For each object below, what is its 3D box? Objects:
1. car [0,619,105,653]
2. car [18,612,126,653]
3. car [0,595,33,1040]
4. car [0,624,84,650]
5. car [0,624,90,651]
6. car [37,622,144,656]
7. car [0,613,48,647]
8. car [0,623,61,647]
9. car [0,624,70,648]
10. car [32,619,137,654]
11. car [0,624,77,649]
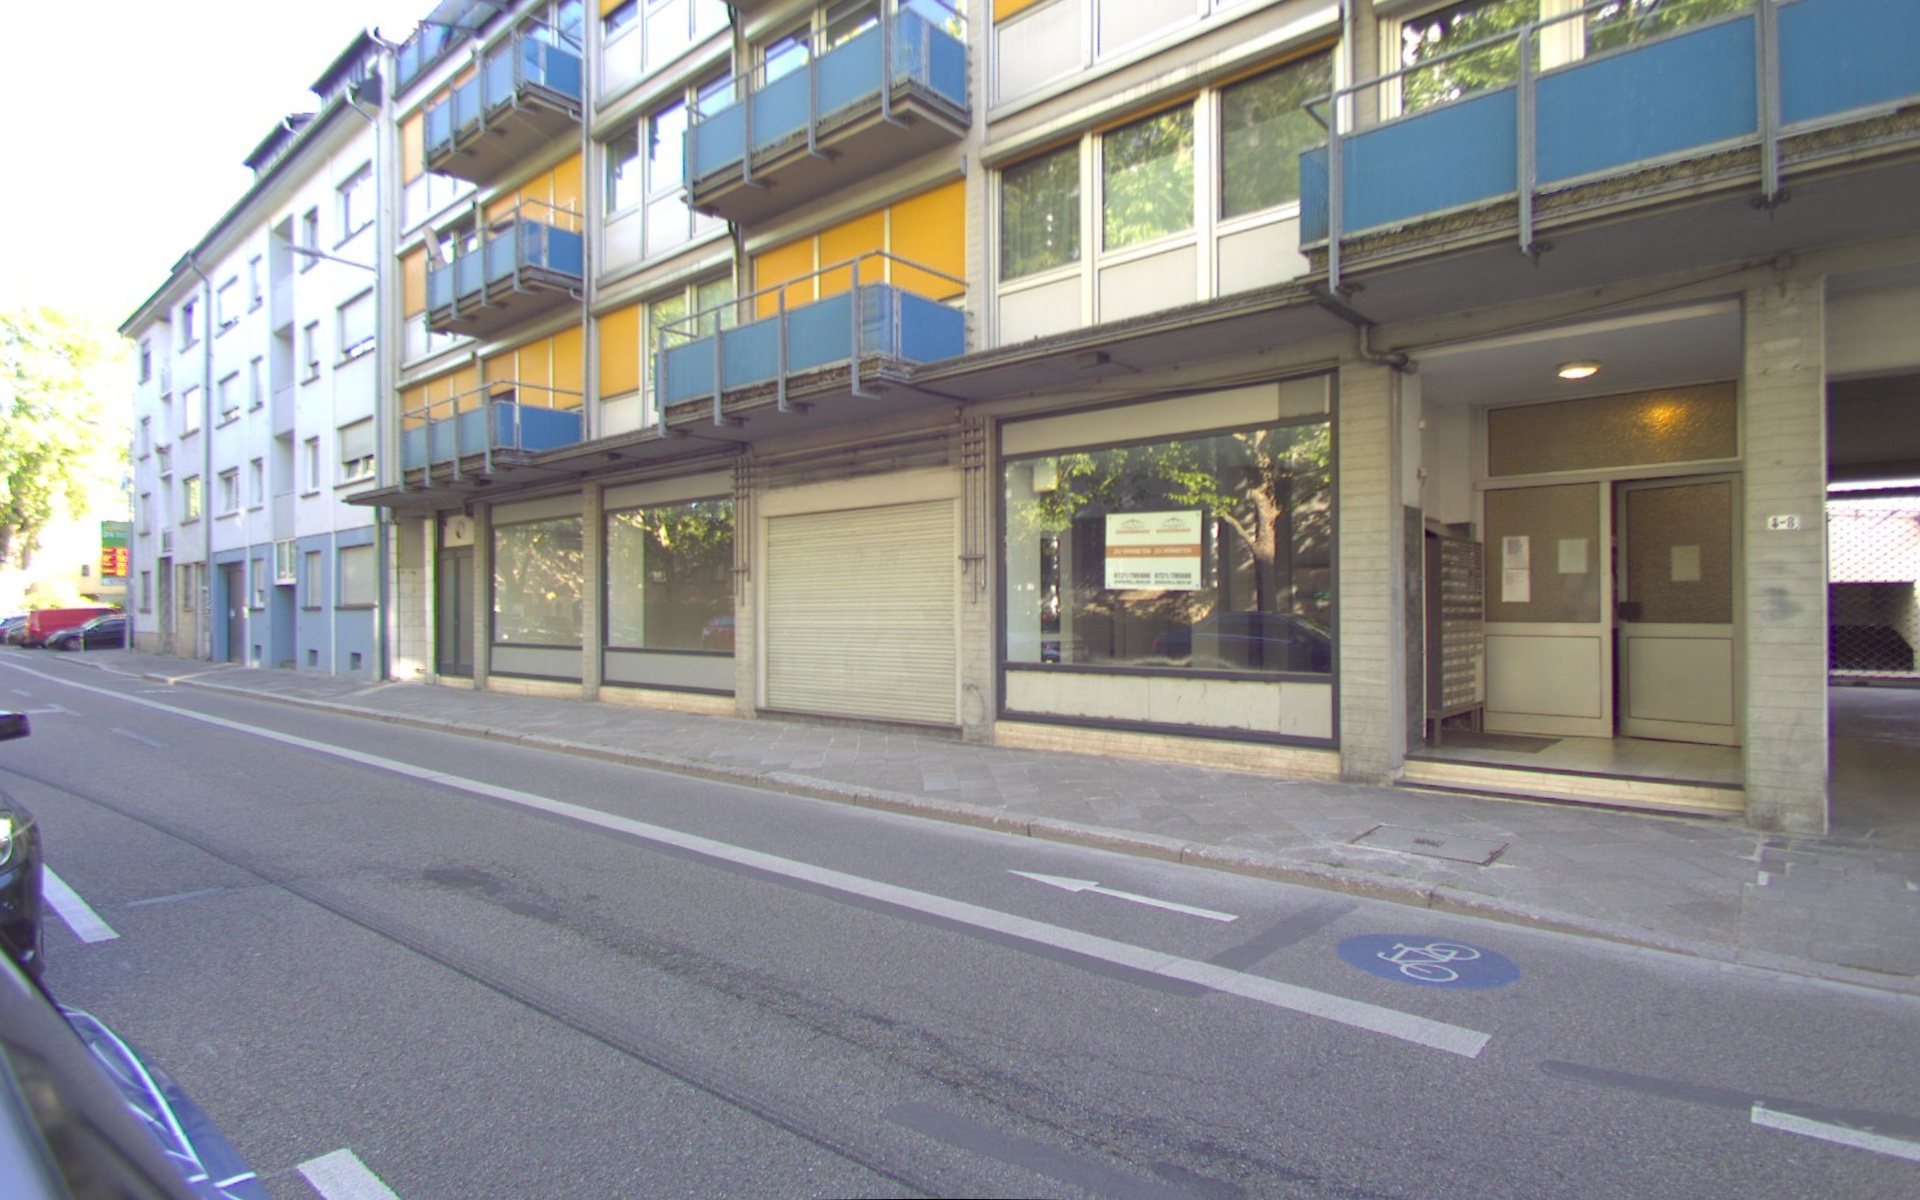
[{"bbox_3d":[-46.056,1.788,51.404,1.603,1.598,3.854,-1,0,42],"label":"car"},{"bbox_3d":[-43.709,1.573,49.865,1.749,1.921,3.854,-1,-1,42],"label":"car"},{"bbox_3d":[-5.435,0.770,4.208,4.291,1.515,1.805,-1,0,40],"label":"car"},{"bbox_3d":[-53.366,2.124,58.561,1.594,1.385,3.854,-1,0,42],"label":"car"},{"bbox_3d":[-51.852,2.104,57.221,1.594,1.385,3.854,-1,0,42],"label":"car"},{"bbox_3d":[-39.798,1.754,46.351,1.534,1.420,3.551,-2,-1,42],"label":"car"},{"bbox_3d":[-62.716,1.976,66.589,1.725,2.193,3.854,-1,0,42],"label":"car"},{"bbox_3d":[-59.218,2.197,63.759,1.539,1.451,3.733,-1,0,42],"label":"car"},{"bbox_3d":[-57.188,2.209,62.001,1.525,1.343,3.854,-1,0,42],"label":"car"},{"bbox_3d":[-41.516,1.708,48.048,1.602,1.521,3.620,-1,0,42],"label":"car"},{"bbox_3d":[-55.382,2.185,60.440,1.525,1.343,3.854,-1,0,42],"label":"car"}]
